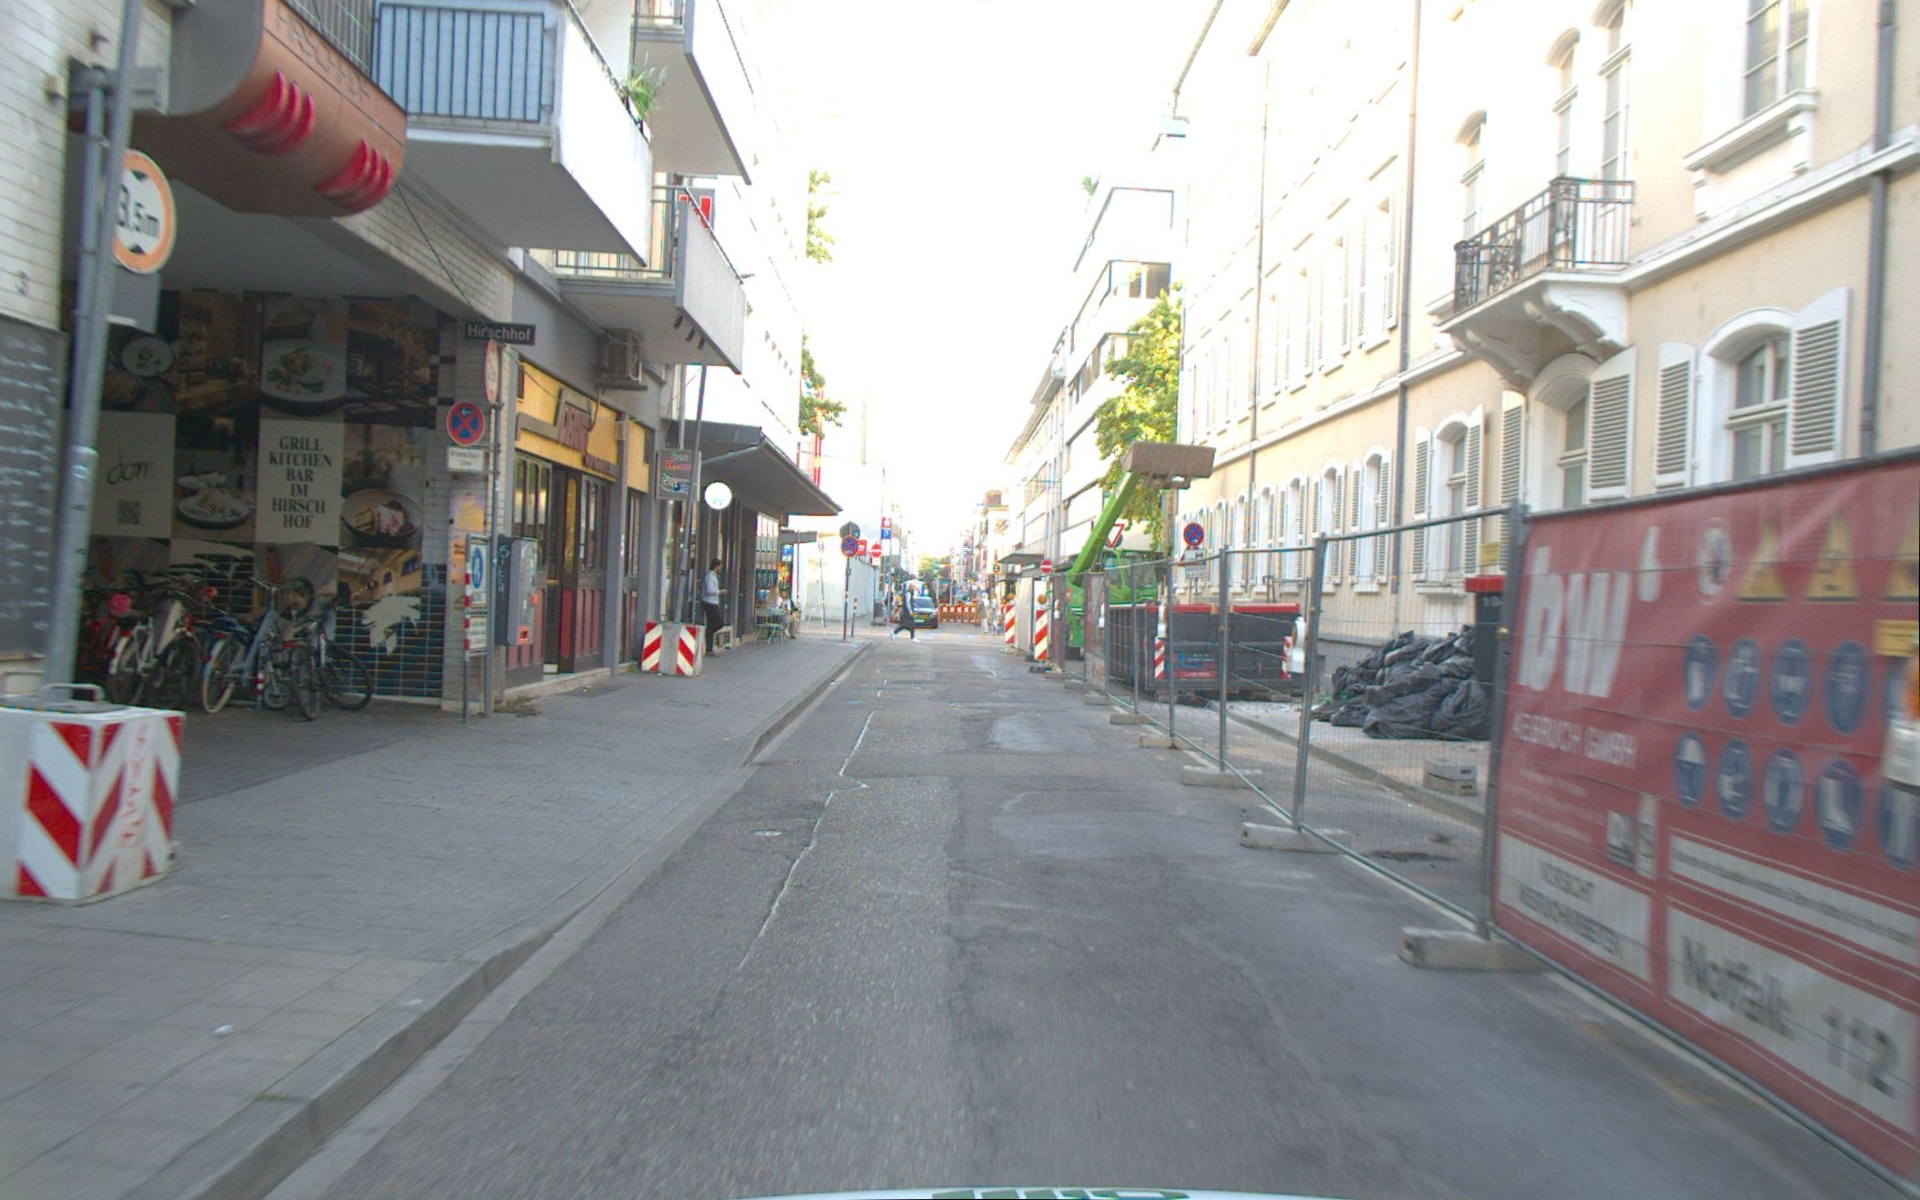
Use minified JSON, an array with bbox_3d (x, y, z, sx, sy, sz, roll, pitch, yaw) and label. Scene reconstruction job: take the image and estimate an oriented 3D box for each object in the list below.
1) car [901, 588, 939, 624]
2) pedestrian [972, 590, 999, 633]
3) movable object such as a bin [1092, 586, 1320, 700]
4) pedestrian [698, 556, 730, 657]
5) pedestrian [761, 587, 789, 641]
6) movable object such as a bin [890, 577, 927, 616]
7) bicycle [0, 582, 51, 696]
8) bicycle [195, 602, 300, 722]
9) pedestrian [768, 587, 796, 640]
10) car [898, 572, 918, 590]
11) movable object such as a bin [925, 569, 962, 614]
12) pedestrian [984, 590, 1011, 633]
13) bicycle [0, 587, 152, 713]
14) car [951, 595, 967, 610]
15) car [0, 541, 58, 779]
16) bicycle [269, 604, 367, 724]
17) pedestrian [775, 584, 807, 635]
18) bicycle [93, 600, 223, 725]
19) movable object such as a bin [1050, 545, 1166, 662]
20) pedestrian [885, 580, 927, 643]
[{"bbox_3d":[-1.910,0.271,77.530,1.597,1.577,3.139,1,0,-4],"label":"car"},{"bbox_3d":[0.993,0.447,64.563,0.606,1.656,0.860,1,0,-41],"label":"pedestrian"},{"bbox_3d":[4.175,0.663,29.814,2.681,1.667,7.549,3,0,-2],"label":"movable object such as a bin"},{"bbox_3d":[-4.599,0.114,30.994,0.520,1.866,0.562,2,0,-7],"label":"pedestrian"},{"bbox_3d":[-4.634,0.353,41.410,0.561,1.297,0.713,4,0,-1],"label":"pedestrian"},{"bbox_3d":[-2.849,-0.203,92.716,1.953,2.049,3.999,1,0,-1],"label":"movable object such as a bin"},{"bbox_3d":[-8.650,0.356,14.546,0.370,0.977,1.796,2,1,-3],"label":"bicycle"},{"bbox_3d":[-6.449,0.537,15.025,0.370,0.977,1.501,2,1,-4],"label":"bicycle"},{"bbox_3d":[-4.561,0.344,42.474,0.561,1.297,0.713,4,0,-1],"label":"pedestrian"},{"bbox_3d":[-5.405,-1.999,172.510,1.953,1.807,3.999,1,0,-1],"label":"car"},{"bbox_3d":[-1.050,-0.520,103.011,2.113,2.710,4.571,2,0,-1],"label":"movable object such as a bin"},{"bbox_3d":[1.471,0.456,64.979,0.606,1.656,0.860,1,0,-41],"label":"pedestrian"},{"bbox_3d":[-7.677,0.402,14.440,0.370,0.977,1.796,2,1,-1],"label":"bicycle"},{"bbox_3d":[-0.142,0.320,216.996,1.953,1.807,3.999,1,0,-1],"label":"car"},{"bbox_3d":[-7.901,0.278,9.521,4.229,1.446,2.019,2,0,-3],"label":"car"},{"bbox_3d":[-5.782,0.552,14.959,0.370,0.977,1.501,2,1,-4],"label":"bicycle"},{"bbox_3d":[-4.432,0.249,43.489,0.688,1.297,0.713,4,0,-1],"label":"pedestrian"},{"bbox_3d":[-7.110,0.522,14.731,0.370,0.977,1.795,2,1,-4],"label":"bicycle"},{"bbox_3d":[3.850,0.076,43.870,2.552,2.888,4.449,1,0,-1],"label":"movable object such as a bin"},{"bbox_3d":[-1.640,0.349,50.129,1.056,1.867,0.693,1,0,-22],"label":"pedestrian"}]
